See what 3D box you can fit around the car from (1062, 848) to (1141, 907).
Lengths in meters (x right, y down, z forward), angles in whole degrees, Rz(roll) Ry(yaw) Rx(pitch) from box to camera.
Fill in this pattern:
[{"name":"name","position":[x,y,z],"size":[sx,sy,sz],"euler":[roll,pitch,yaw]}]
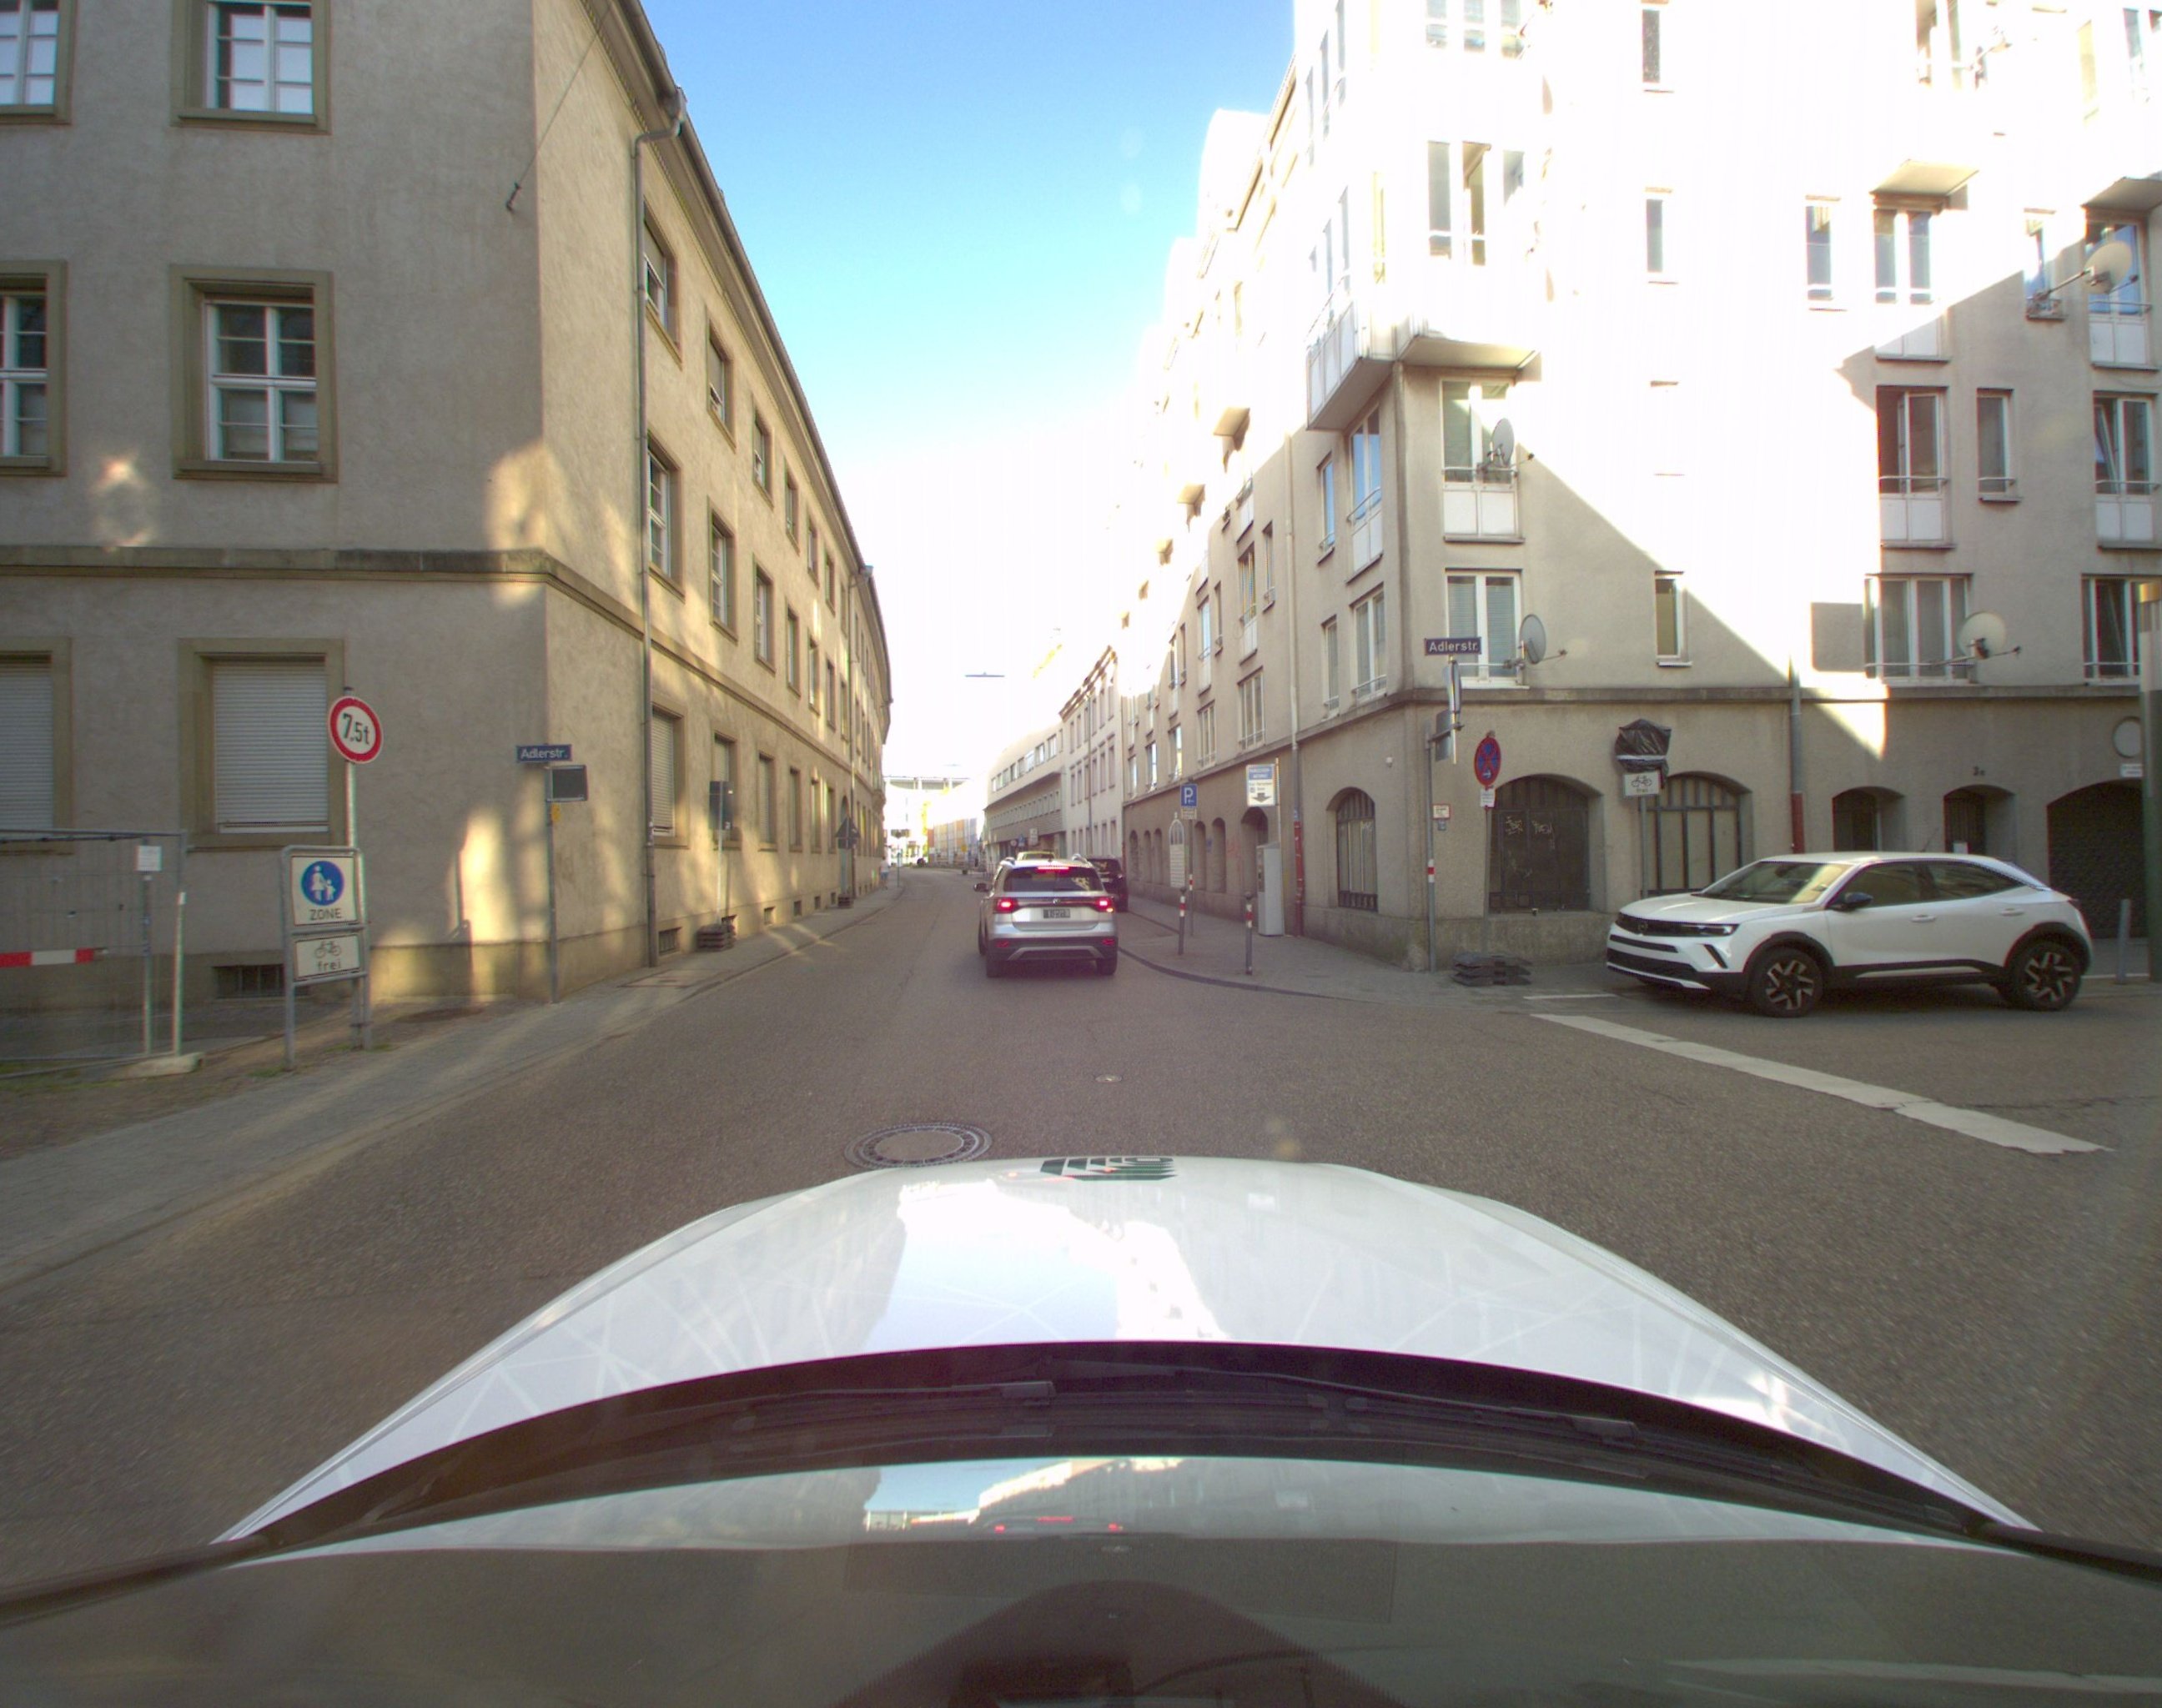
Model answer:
[{"name":"car","position":[0.543,0.663,25.332],"size":[1.823,1.654,4.483],"euler":[-1,0,-7]}]

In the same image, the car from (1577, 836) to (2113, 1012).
[{"name":"car","position":[7.764,0.649,8.558],"size":[4.058,1.568,1.766],"euler":[-1,0,-2]}]

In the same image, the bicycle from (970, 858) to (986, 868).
[{"name":"bicycle","position":[-12.742,1.097,100.875],"size":[1.752,1.141,0.549],"euler":[-5,1,-17]}]

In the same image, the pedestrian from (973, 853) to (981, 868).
[{"name":"pedestrian","position":[-12.045,0.743,94.212],"size":[0.698,1.760,1.182],"euler":[-4,0,-16]}]

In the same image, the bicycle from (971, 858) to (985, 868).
[{"name":"bicycle","position":[-12.887,1.090,102.270],"size":[1.649,1.141,0.281],"euler":[-5,1,-25]}]

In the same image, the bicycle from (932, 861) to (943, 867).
[{"name":"bicycle","position":[-25.308,1.743,143.861],"size":[1.760,1.004,0.609],"euler":[-3,0,-21]}]

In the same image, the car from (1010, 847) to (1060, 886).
[{"name":"car","position":[-2.427,0.607,41.847],"size":[1.884,1.882,4.827],"euler":[-1,0,-11]}]

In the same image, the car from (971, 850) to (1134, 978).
[{"name":"car","position":[-0.595,0.738,12.116],"size":[1.826,1.559,3.971],"euler":[-1,0,-11]}]

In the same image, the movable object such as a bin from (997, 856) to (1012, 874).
[{"name":"movable object such as a bin","position":[-6.302,0.924,67.346],"size":[0.982,1.385,1.314],"euler":[-3,-2,-14]}]

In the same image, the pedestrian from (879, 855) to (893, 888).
[{"name":"pedestrian","position":[-10.080,0.889,42.106],"size":[0.693,1.670,0.871],"euler":[1,-1,-12]}]

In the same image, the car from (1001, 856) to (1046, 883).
[{"name":"car","position":[-3.365,0.859,47.022],"size":[1.885,1.489,4.348],"euler":[-1,0,-13]}]

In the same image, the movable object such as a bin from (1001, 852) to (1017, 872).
[{"name":"movable object such as a bin","position":[-5.824,0.663,65.798],"size":[0.982,1.480,1.544],"euler":[-3,-2,-14]}]

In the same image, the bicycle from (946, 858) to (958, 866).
[{"name":"bicycle","position":[-20.681,1.315,130.371],"size":[1.815,1.137,0.548],"euler":[-2,-1,-18]}]

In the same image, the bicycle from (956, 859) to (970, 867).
[{"name":"bicycle","position":[-16.549,1.280,114.171],"size":[1.752,0.946,0.549],"euler":[-3,0,-17]}]

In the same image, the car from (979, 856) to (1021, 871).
[{"name":"car","position":[-8.551,0.974,85.861],"size":[4.087,1.482,1.855],"euler":[-2,0,-16]}]
